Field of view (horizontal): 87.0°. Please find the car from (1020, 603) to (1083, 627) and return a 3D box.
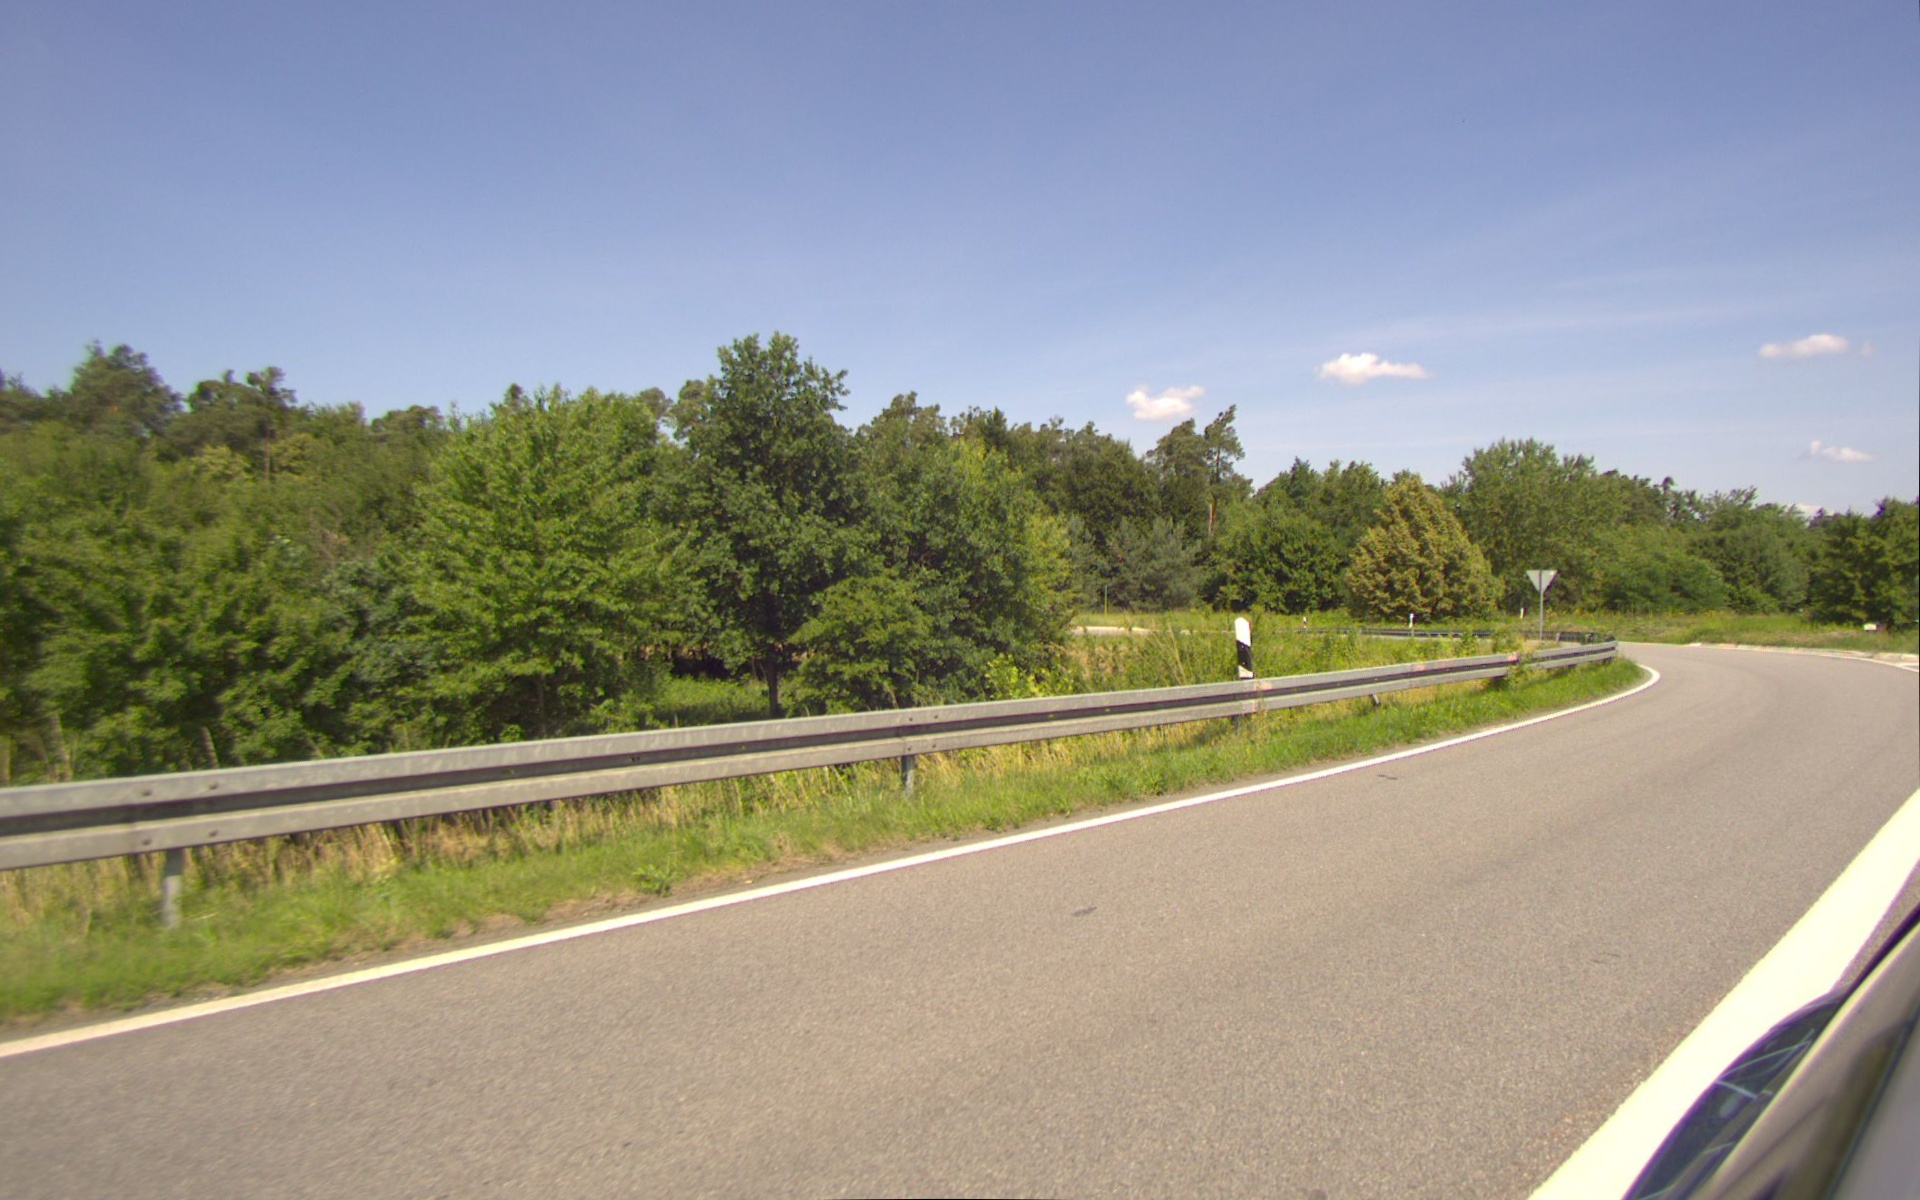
[{"bbox_3d":[6.868,1.128,76.419,4.578,1.687,1.899,-2,-1,1],"label":"car"}]
